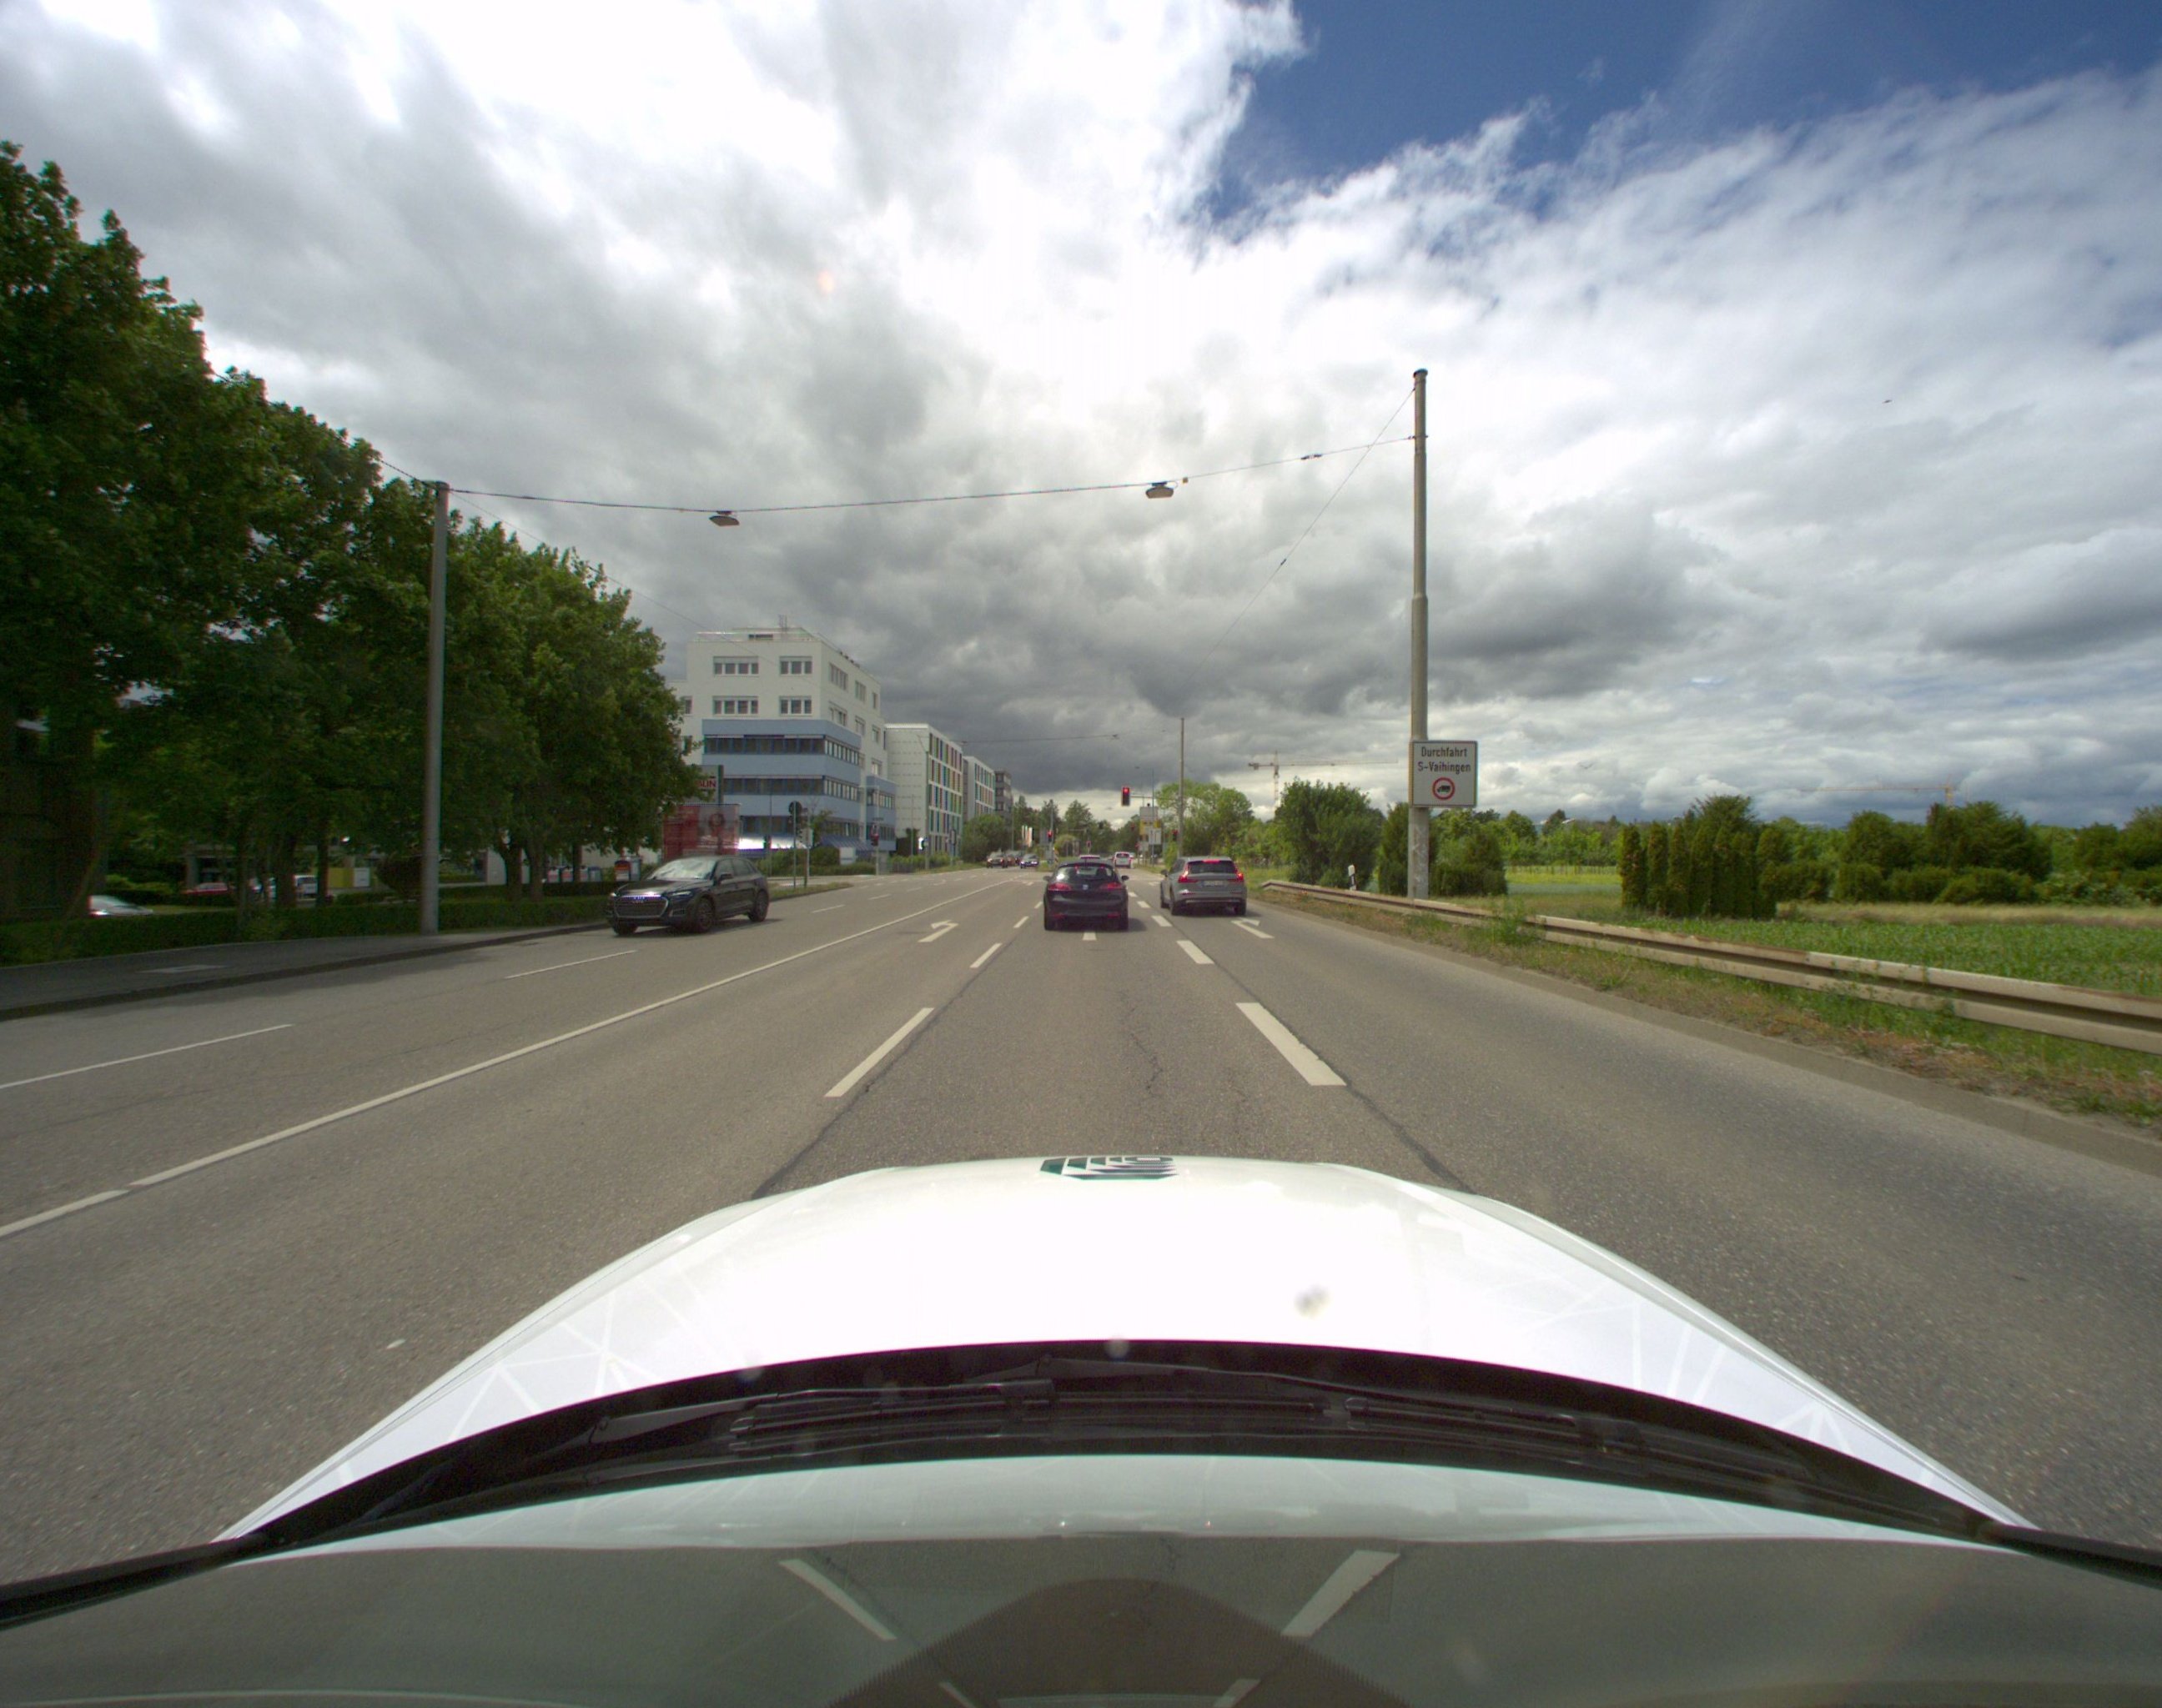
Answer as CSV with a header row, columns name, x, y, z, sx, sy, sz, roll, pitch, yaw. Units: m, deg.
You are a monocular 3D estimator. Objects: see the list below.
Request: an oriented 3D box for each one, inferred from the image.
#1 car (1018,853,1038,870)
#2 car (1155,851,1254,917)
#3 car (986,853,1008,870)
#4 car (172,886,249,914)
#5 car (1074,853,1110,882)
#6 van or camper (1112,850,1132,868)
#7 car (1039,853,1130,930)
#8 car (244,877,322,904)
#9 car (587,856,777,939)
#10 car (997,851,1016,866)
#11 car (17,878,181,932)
name,x,y,z,sx,sy,sz,roll,pitch,yaw
car,-5.183,0.746,80.492,1.663,1.524,4.008,-2,1,0
car,3.153,0.740,21.618,1.952,1.525,4.339,-1,-1,0
car,-8.367,0.713,81.597,1.745,1.631,4.000,-2,0,0
car,-66.218,3.486,61.975,3.969,2.014,1.895,0,-1,3
car,0.584,0.741,47.231,1.977,1.590,4.225,1,0,0
van or camper,4.618,0.597,92.943,1.895,1.926,3.995,0,-2,-3
car,0.187,0.751,17.753,1.740,1.484,4.004,0,-1,4
car,-60.417,2.780,61.699,3.969,1.980,2.002,0,-1,3
car,-8.687,0.873,18.256,1.860,1.615,4.573,0,-1,2
car,-8.435,0.495,92.177,1.770,1.612,4.000,0,0,0
car,-36.838,1.874,30.607,3.972,1.727,1.787,-3,0,1
